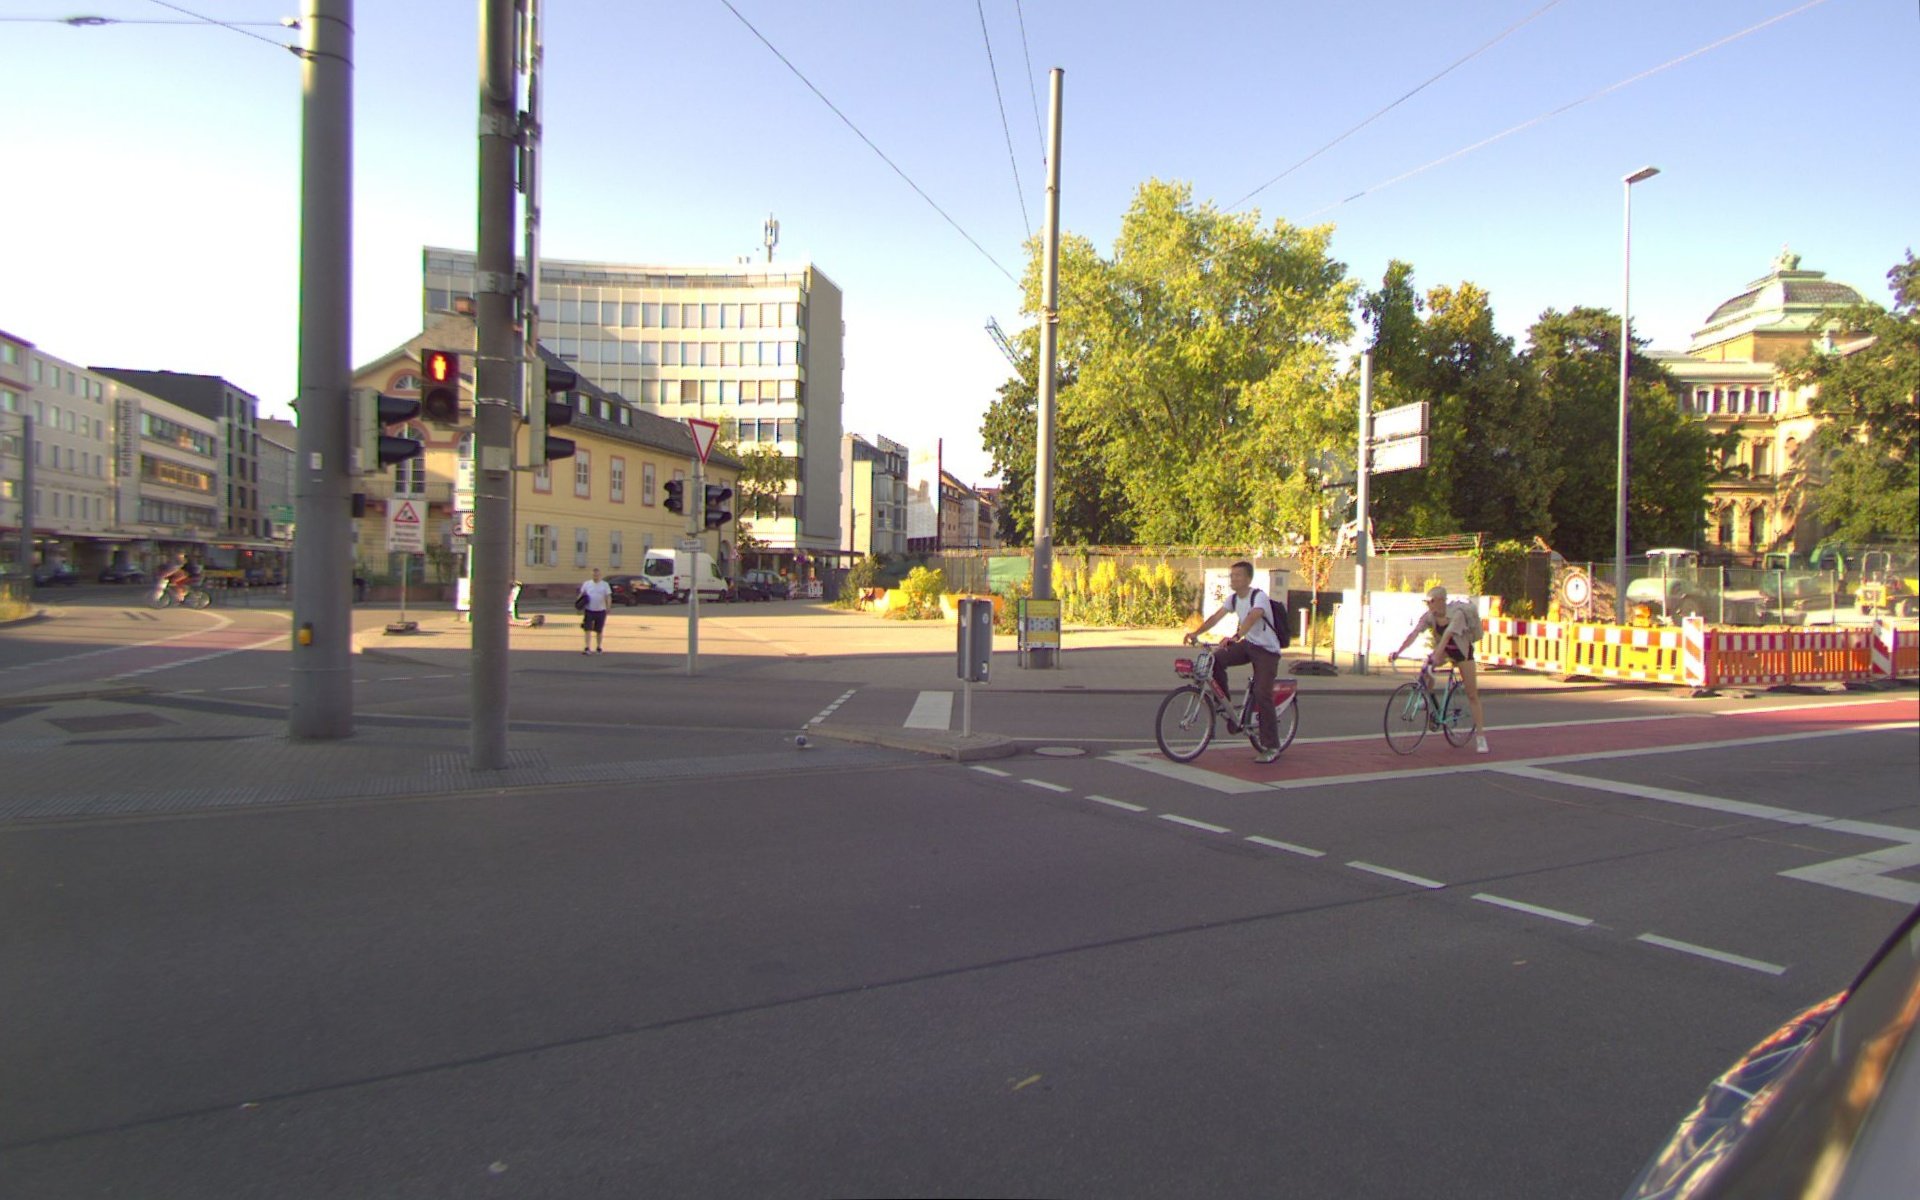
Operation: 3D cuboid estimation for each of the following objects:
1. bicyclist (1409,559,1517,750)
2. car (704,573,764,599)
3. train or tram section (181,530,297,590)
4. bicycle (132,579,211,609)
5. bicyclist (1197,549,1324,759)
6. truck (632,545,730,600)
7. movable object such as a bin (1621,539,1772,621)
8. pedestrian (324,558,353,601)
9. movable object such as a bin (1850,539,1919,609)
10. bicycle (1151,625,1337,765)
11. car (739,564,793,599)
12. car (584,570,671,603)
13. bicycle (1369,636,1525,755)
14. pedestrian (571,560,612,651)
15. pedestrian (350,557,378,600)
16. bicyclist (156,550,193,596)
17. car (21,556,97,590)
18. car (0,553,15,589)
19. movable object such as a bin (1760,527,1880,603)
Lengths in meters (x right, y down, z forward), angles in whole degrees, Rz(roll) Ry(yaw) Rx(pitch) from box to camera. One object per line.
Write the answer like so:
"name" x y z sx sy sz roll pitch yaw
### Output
"bicyclist" 4.880 0.503 9.829 0.776 1.768 0.616 0 0 -31
"car" -12.419 -0.746 55.790 1.689 1.382 3.744 0 0 15
"train or tram section" -51.416 -2.819 72.732 3.638 3.881 13.390 0 2 -22
"bicycle" -25.769 -0.193 33.085 0.722 0.960 1.959 0 0 44
"bicyclist" 2.713 0.460 9.136 1.039 1.790 0.543 0 0 -31
"truck" -13.726 -1.292 50.207 2.267 2.581 5.614 0 0 14
"movable object such as a bin" 25.874 -0.688 35.543 4.909 2.718 2.004 0 0 -22
"pedestrian" -24.104 -0.792 39.248 0.683 1.663 0.806 0 0 40
"movable object such as a bin" 41.099 -1.059 43.130 5.743 2.852 2.004 0 0 -17
"bicycle" 2.551 0.798 9.018 1.773 1.115 0.543 0 0 -32
"car" -11.463 -1.082 60.021 1.689 2.006 3.744 0 0 15
"car" -14.577 -0.581 44.574 1.689 1.382 4.176 0 0 15
"bicycle" 4.713 0.883 9.763 1.660 1.014 0.543 0 0 -32
"pedestrian" -7.391 0.104 20.274 0.745 1.784 1.009 0 0 -21
"pedestrian" -23.546 -0.840 39.987 0.683 1.663 0.806 0 0 40
"bicyclist" -25.721 -0.863 33.137 0.883 1.476 0.722 0 0 -44
"car" -57.410 -1.701 64.572 1.958 2.039 4.882 0 0 -20
"car" -54.915 -1.656 56.082 1.958 2.039 4.882 0 0 -20
"movable object such as a bin" 39.590 -1.564 46.602 5.262 3.372 2.004 0 0 -22
